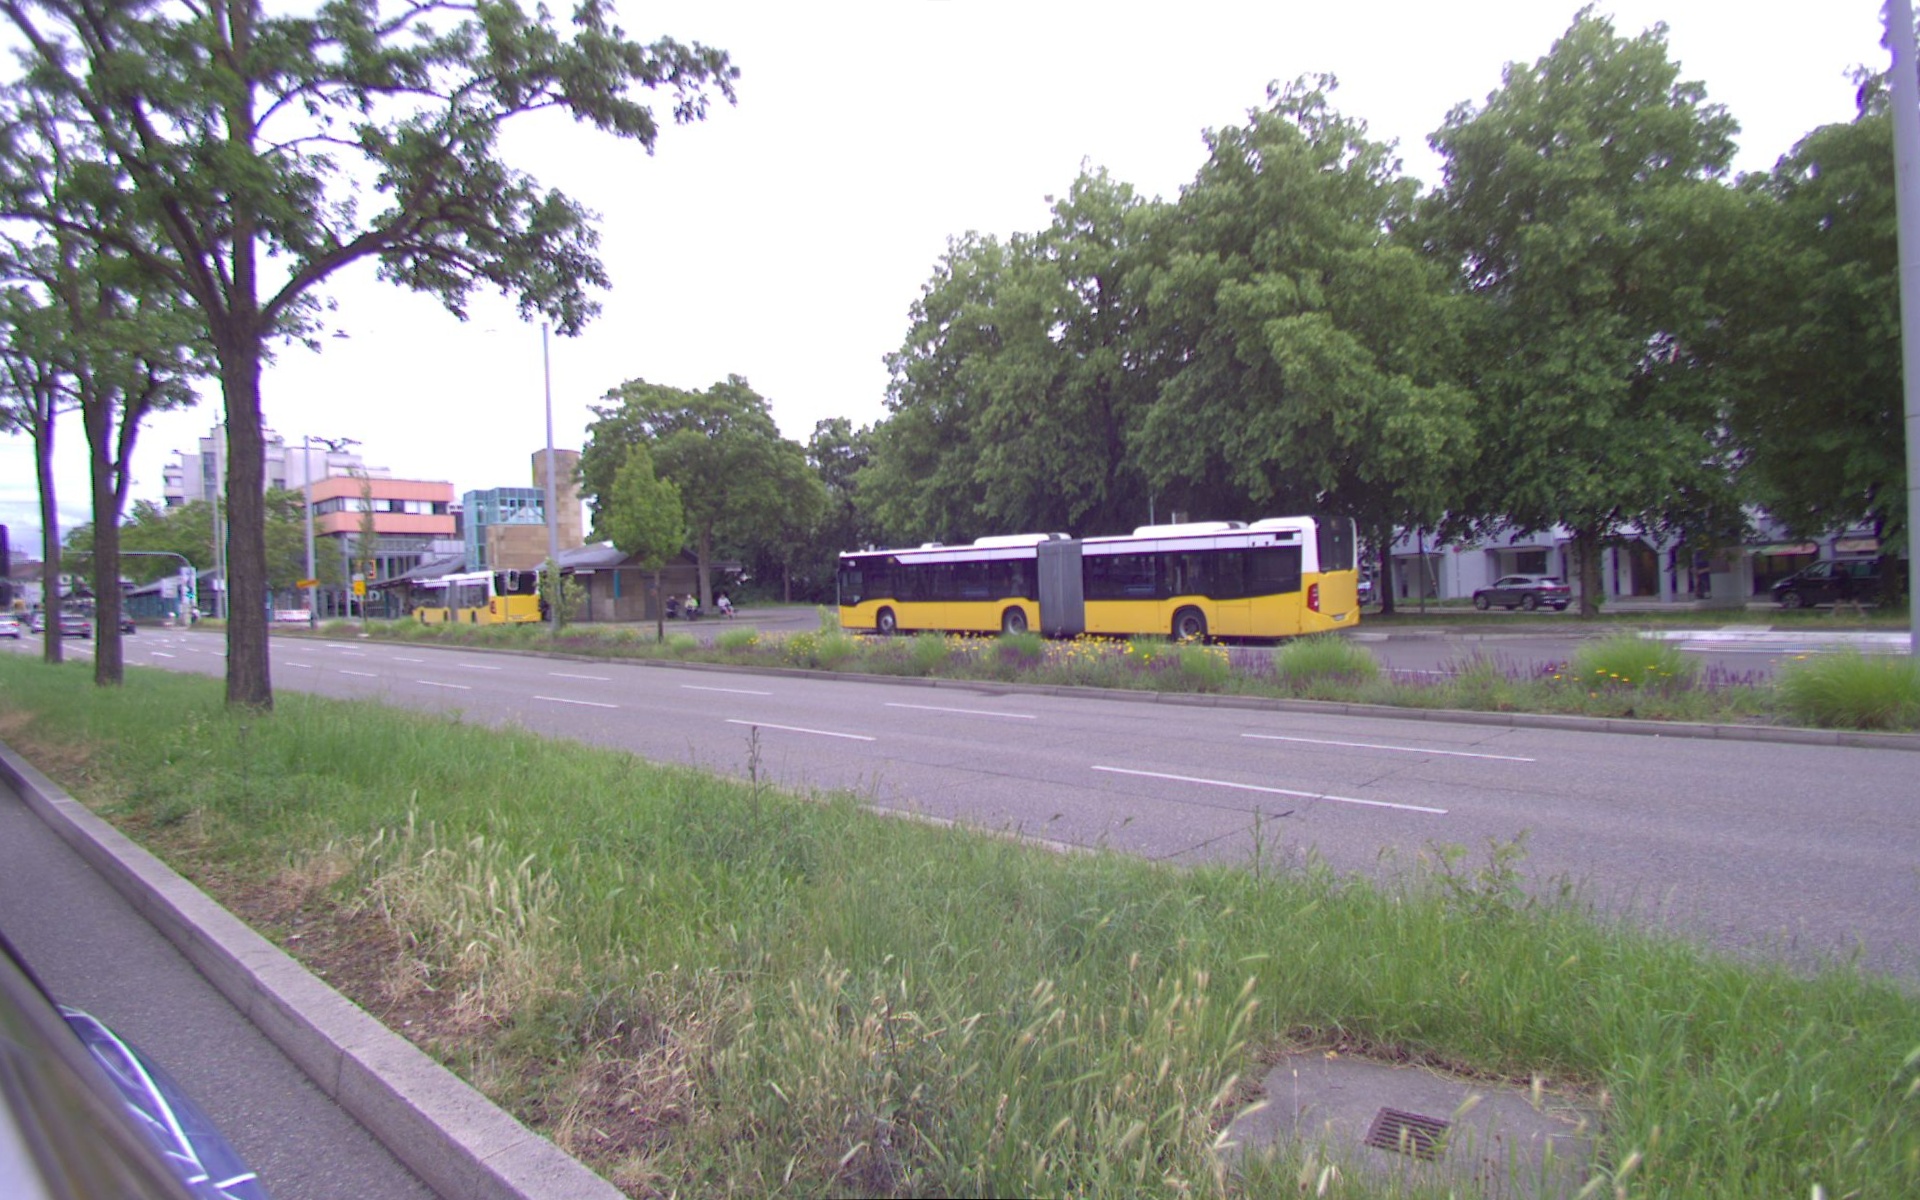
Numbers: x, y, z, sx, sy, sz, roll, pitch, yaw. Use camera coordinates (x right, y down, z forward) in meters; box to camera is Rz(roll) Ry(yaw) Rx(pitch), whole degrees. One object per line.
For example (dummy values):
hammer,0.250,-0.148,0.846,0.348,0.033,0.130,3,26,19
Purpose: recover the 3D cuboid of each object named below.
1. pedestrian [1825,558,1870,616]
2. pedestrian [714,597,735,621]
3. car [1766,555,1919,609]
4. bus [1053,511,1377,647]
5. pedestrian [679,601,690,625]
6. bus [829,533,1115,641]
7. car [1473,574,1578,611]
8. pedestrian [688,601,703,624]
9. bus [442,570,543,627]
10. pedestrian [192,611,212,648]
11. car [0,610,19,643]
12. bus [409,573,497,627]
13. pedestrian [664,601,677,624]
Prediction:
pedestrian,24.957,-0.359,28.476,0.904,1.569,0.761,-2,0,41
pedestrian,-11.902,0.465,51.121,0.924,1.180,0.641,-1,0,41
car,33.145,-0.637,37.797,1.758,1.861,4.429,-1,0,-35
bus,6.379,-0.428,26.494,2.849,3.025,7.889,-1,0,-44
pedestrian,-13.718,0.626,50.408,0.361,1.175,0.900,-1,0,-23
bus,0.006,-0.312,33.084,2.848,3.025,10.401,-1,0,-44
car,24.940,-0.304,44.778,1.730,1.524,4.011,-1,0,-14
pedestrian,-13.237,0.620,50.589,0.589,1.171,0.745,-1,0,-23
bus,-25.676,-0.026,55.330,2.845,2.830,9.193,-1,0,-39
pedestrian,-58.114,2.223,77.623,1.129,2.809,0.905,-1,0,-42
car,-59.969,1.657,63.033,4.000,2.029,1.703,-1,0,43
bus,-31.263,0.050,62.156,2.846,3.025,9.191,-1,0,-40
pedestrian,-14.872,0.622,52.007,0.589,1.171,0.745,-1,0,-19
